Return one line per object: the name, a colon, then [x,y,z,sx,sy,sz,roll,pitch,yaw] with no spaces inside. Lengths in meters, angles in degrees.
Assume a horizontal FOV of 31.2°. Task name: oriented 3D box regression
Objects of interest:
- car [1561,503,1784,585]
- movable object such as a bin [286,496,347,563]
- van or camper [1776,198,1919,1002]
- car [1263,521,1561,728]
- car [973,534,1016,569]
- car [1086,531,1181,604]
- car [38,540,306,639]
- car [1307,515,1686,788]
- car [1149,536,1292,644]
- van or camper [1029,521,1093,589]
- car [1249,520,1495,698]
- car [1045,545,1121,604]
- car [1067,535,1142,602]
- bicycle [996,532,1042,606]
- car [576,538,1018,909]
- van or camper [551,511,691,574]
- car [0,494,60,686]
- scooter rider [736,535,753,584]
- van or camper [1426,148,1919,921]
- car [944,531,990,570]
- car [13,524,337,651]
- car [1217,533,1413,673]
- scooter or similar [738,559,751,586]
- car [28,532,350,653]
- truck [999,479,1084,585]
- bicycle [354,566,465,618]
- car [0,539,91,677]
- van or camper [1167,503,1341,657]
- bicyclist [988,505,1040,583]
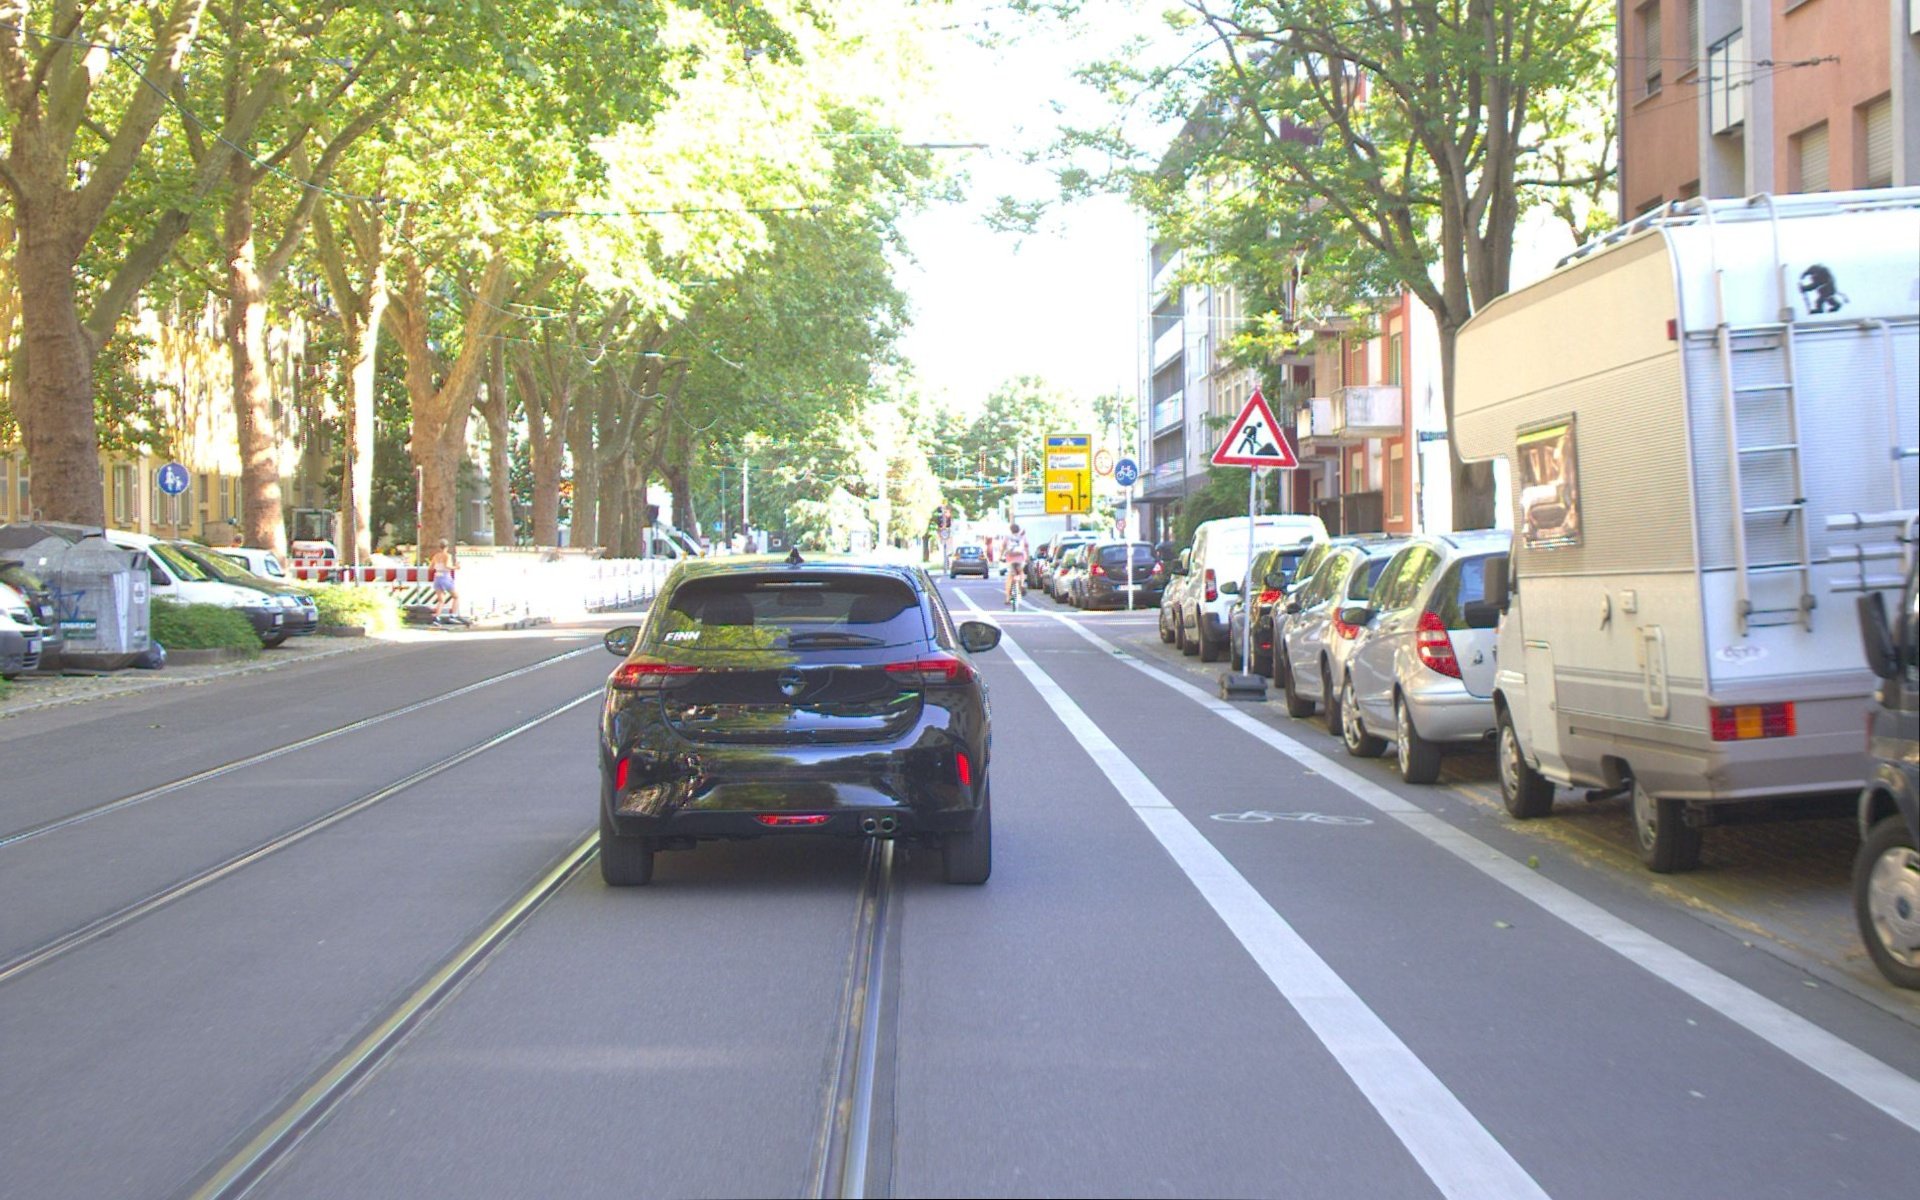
car: [13.610,-1.078,65.778,3.913,1.477,1.562,0,4,-1]
movable object such as a bin: [-18.093,-1.977,96.646,1.333,1.862,2.008,1,0,0]
van or camper: [4.234,-0.008,10.512,2.132,2.654,4.980,-2,1,-1]
car: [3.665,0.147,28.575,1.788,1.517,4.322,-2,1,-1]
car: [1.763,-2.511,177.199,1.993,1.690,4.740,-2,1,-1]
car: [3.715,-0.714,74.128,1.733,1.457,3.916,-2,1,-1]
car: [-12.617,-0.188,55.175,3.847,1.492,1.862,-1,1,0]
car: [3.541,0.278,23.438,1.793,1.622,4.277,-2,1,-1]
car: [3.743,-0.173,49.882,1.705,1.468,4.000,-1,1,-1]
van or camper: [2.884,-1.303,98.823,1.669,1.876,4.211,-2,1,0]
car: [3.966,0.040,33.713,1.767,1.567,4.337,-2,1,-1]
car: [3.126,-0.685,88.277,1.659,1.394,4.740,-2,1,-1]
car: [3.471,-0.765,83.066,1.591,1.521,3.835,-3,1,0]
bicycle: [1.249,-0.684,73.511,0.916,1.555,3.405,0,1,0]
car: [-0.691,0.465,15.893,1.781,1.491,4.000,0,1,-1]
van or camper: [-14.417,-2.439,146.608,5.723,2.635,2.269,1,0,0]
car: [-11.887,-0.121,35.615,4.656,1.938,1.962,0,1,-3]
scooter rider: [-8.708,-1.626,138.920,0.649,1.950,0.624,1,0,0]
van or camper: [4.052,-0.350,16.891,2.462,3.053,6.269,-2,1,-1]
car: [0.312,-2.329,160.568,1.993,1.690,4.740,-2,1,-1]
car: [-11.102,-0.193,48.815,4.198,1.751,1.740,0,1,1]
car: [3.948,-0.006,38.792,1.705,1.468,4.168,-1,1,-1]
scooter or similar: [-8.716,-1.116,139.017,0.407,1.079,1.338,1,0,0]
car: [-11.405,-0.124,50.995,4.235,1.682,1.933,-1,1,7]
truck: [2.705,-2.279,115.856,2.538,3.326,7.195,-3,1,0]
bicycle: [-10.382,-0.149,64.868,1.972,0.959,0.726,0,1,1]
car: [-11.897,0.094,38.474,3.847,1.492,1.862,-1,1,0]
van or camper: [3.741,-0.294,44.419,1.755,1.858,4.831,-1,1,-1]
bicyclist: [1.159,-1.199,73.548,1.089,1.641,1.400,0,1,0]
